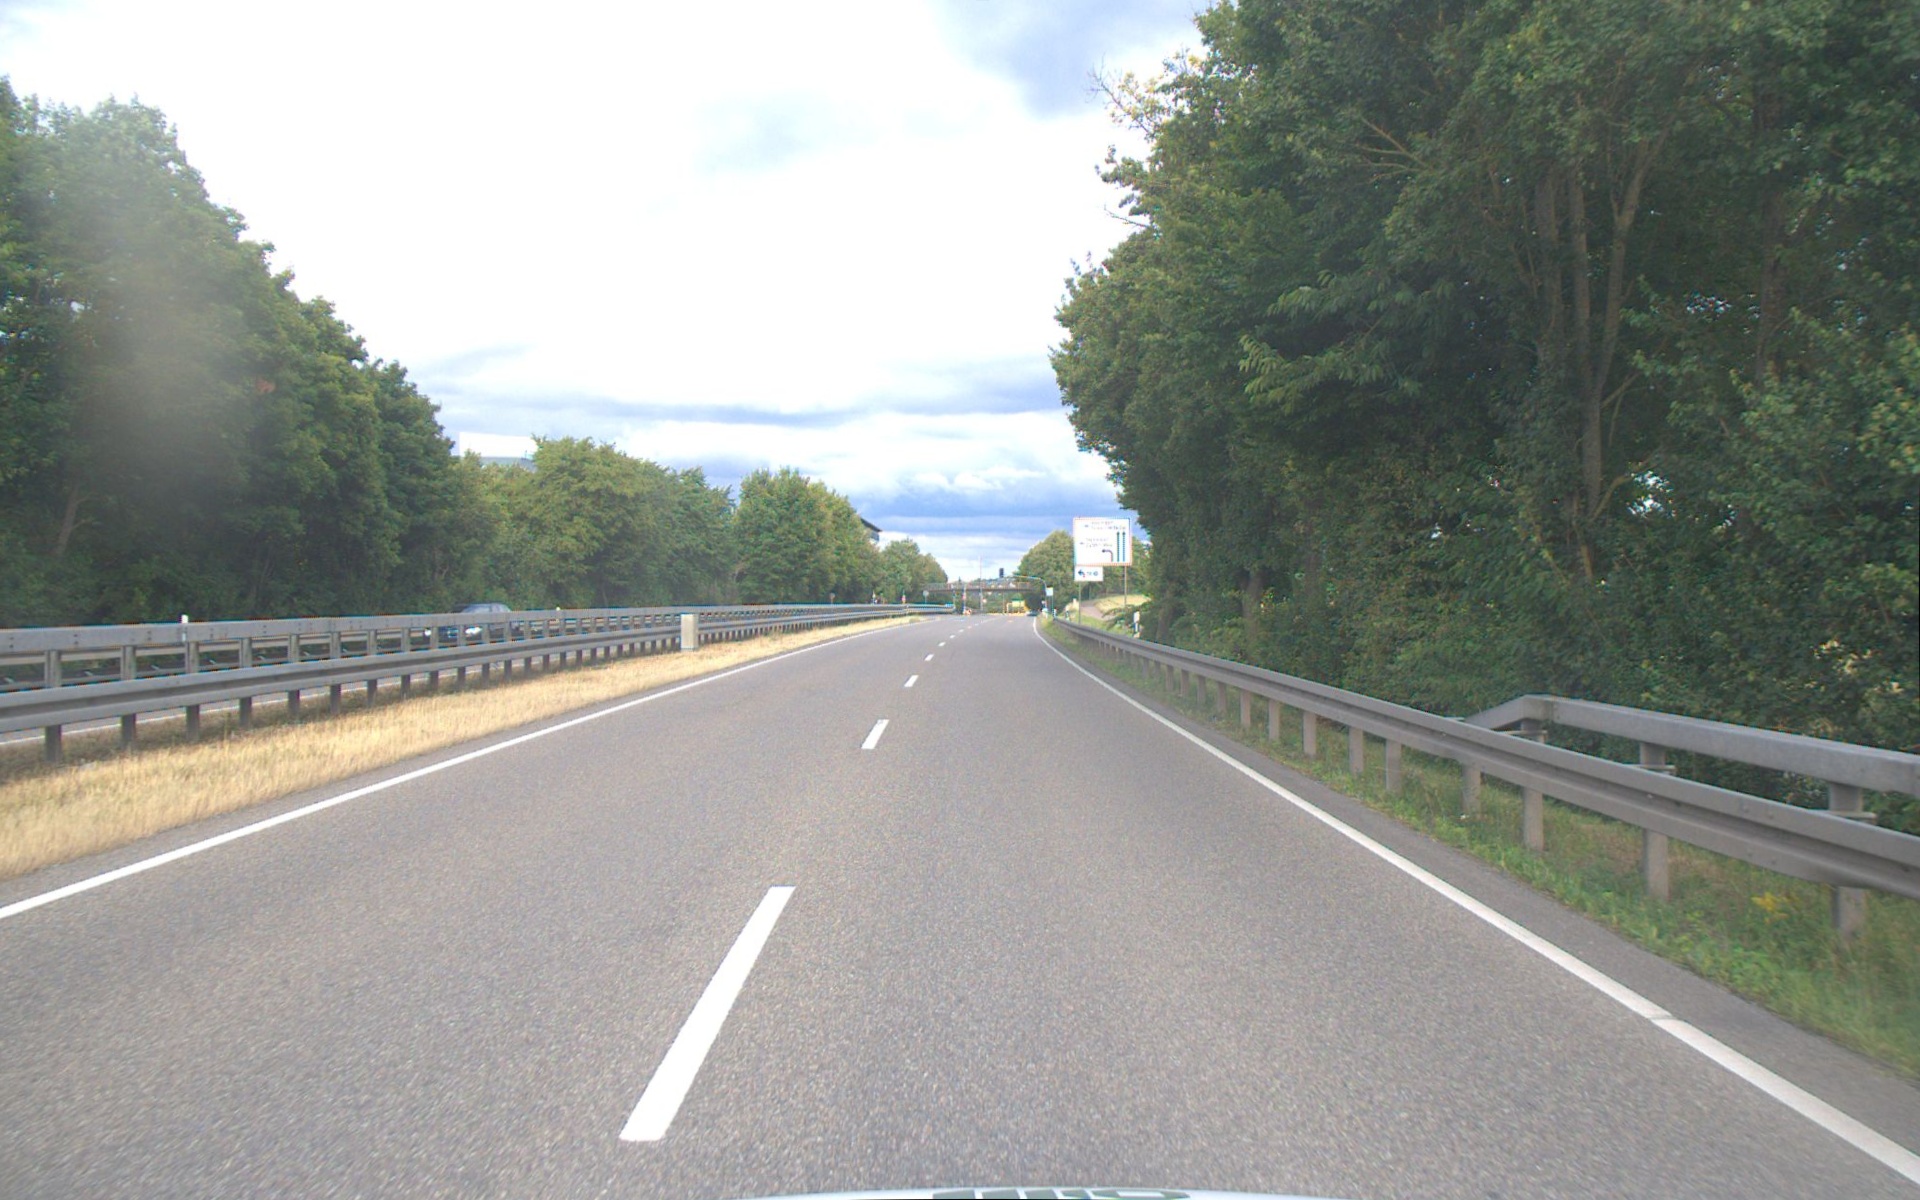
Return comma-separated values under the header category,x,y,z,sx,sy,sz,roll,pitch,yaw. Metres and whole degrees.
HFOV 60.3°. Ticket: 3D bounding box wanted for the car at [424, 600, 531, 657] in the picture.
category,x,y,z,sx,sy,sz,roll,pitch,yaw
car,-14.301,0.800,49.286,1.787,1.571,4.587,-1,0,0
